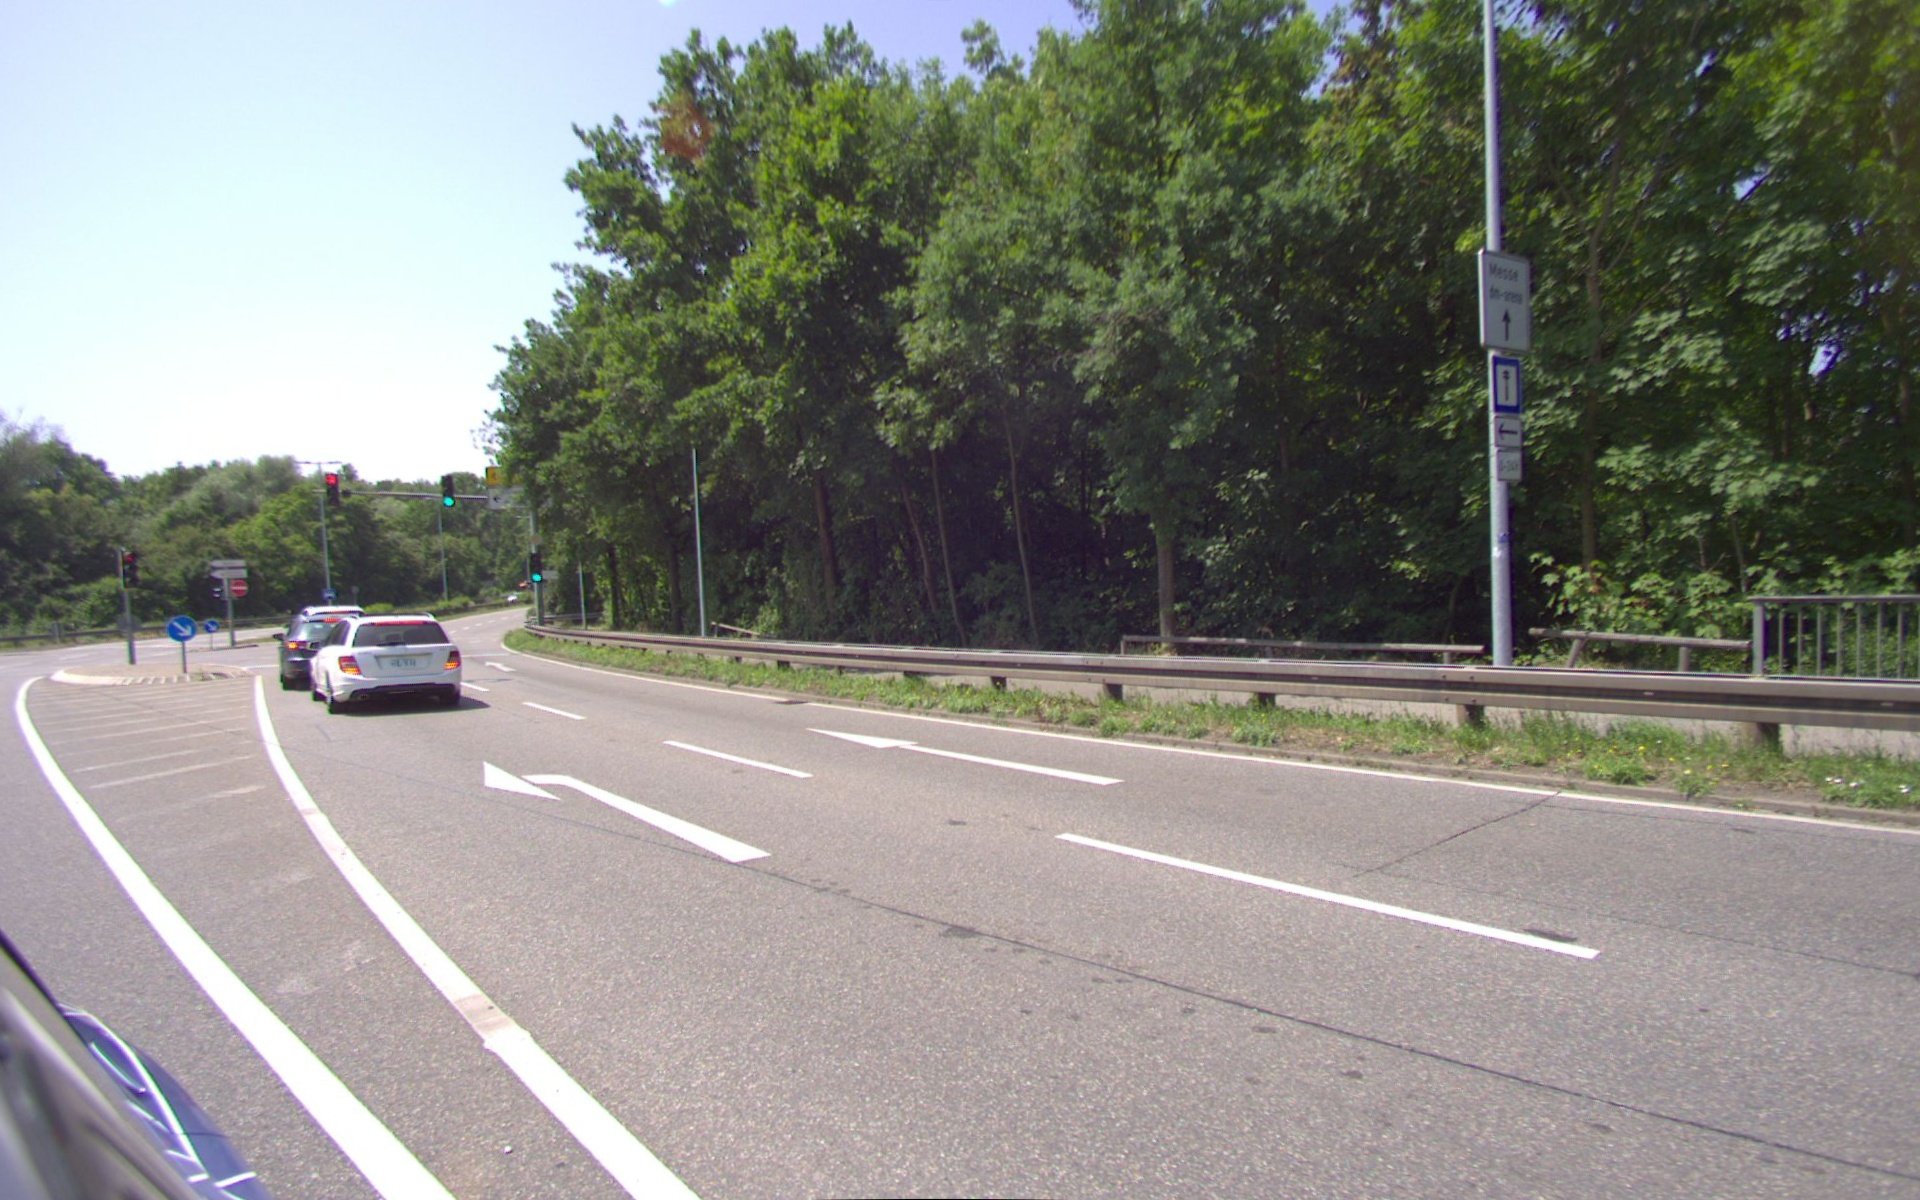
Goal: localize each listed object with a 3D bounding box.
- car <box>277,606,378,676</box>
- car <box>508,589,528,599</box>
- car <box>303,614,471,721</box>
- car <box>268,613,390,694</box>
[{"bbox_3d":[-16.957,1.030,27.035,1.804,1.651,4.588,-2,0,-38],"label":"car"},{"bbox_3d":[-68.707,-0.960,157.355,1.818,1.441,3.584,-3,1,-8],"label":"car"},{"bbox_3d":[-9.258,0.950,16.129,1.803,1.417,4.899,0,-1,-36],"label":"car"},{"bbox_3d":[-13.155,1.019,20.967,1.804,1.417,4.557,-2,0,-36],"label":"car"}]
